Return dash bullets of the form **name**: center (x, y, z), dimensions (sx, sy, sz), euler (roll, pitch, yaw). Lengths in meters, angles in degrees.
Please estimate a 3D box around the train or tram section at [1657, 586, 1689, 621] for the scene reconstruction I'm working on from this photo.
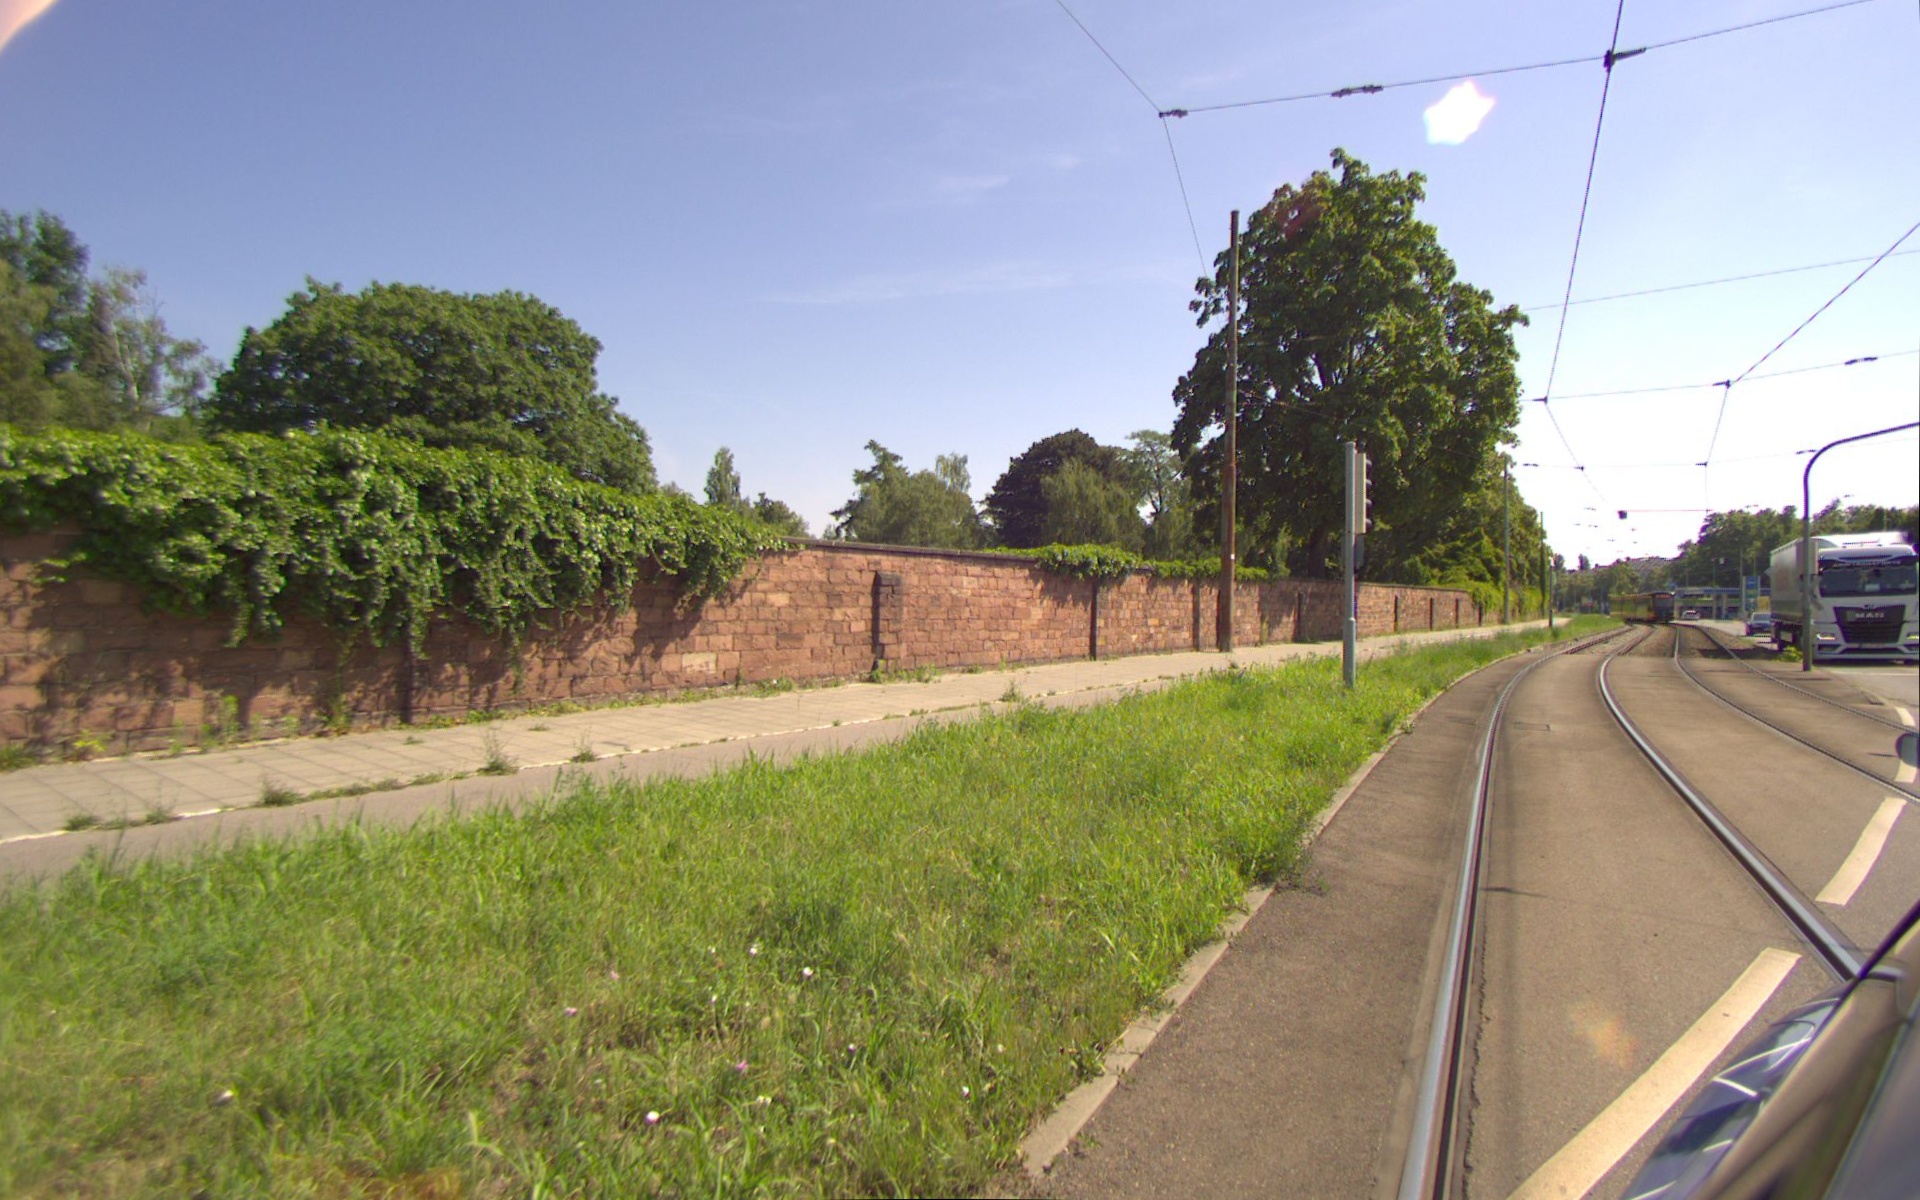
- **train or tram section**: center (80.337, 0.404, 113.845), dimensions (2.662, 3.699, 15.106), euler (-2, -1, 36)

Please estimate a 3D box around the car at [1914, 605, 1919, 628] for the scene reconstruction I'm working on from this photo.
- **car**: center (71.410, 1.152, 74.074), dimensions (1.669, 1.691, 4.093), euler (-3, -2, 36)

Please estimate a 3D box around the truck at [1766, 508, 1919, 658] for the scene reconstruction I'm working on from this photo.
- **truck**: center (29.831, -0.458, 34.095), dimensions (3.372, 4.121, 14.101), euler (-2, -1, 36)

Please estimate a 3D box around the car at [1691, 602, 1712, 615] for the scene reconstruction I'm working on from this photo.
- **car**: center (116.152, 1.342, 158.586), dimensions (1.982, 2.039, 3.961), euler (2, 1, 28)

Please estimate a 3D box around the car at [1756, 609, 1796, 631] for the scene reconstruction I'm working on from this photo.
- **car**: center (48.733, 1.170, 60.470), dimensions (1.692, 1.271, 3.947), euler (1, 0, 37)
